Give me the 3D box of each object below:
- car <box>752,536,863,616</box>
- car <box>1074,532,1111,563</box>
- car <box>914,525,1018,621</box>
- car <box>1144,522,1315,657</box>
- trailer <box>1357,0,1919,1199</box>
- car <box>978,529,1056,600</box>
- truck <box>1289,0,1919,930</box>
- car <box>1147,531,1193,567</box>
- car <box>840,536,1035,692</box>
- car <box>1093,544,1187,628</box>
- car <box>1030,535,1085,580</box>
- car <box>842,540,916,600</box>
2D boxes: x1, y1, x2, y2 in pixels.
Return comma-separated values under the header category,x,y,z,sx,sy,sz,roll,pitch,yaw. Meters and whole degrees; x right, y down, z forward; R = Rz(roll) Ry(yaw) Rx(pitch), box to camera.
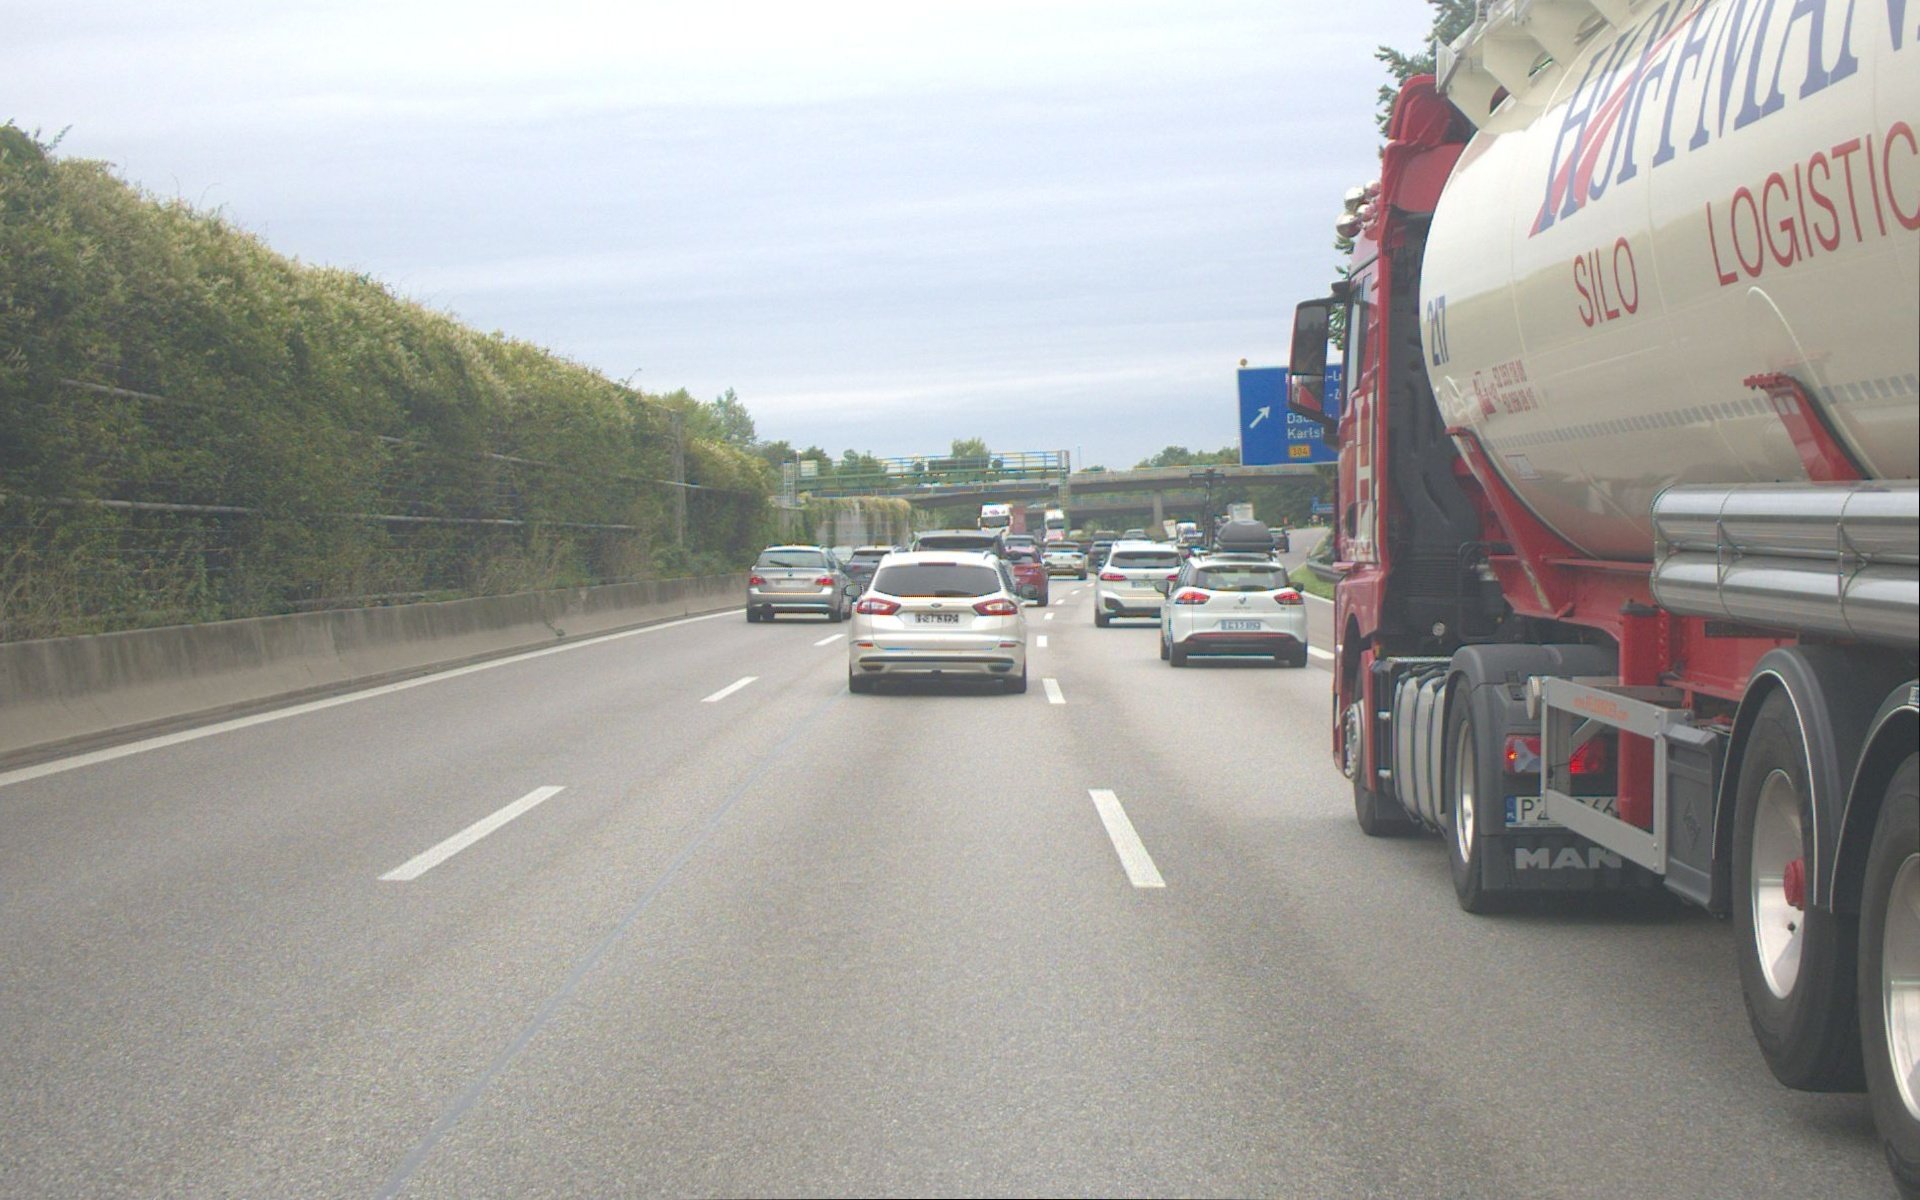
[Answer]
category,x,y,z,sx,sy,sz,roll,pitch,yaw
car,-2.944,-0.440,67.078,1.720,1.464,5.029,0,-1,2
car,6.635,-2.635,172.057,1.689,1.534,3.871,-1,1,0
car,0.089,-0.503,60.637,1.689,1.501,3.872,3,2,-1
car,3.433,-0.162,44.559,1.816,1.620,5.030,1,1,0
trailer,3.314,-0.626,9.871,2.668,3.925,13.131,0,1,-1
car,1.383,-0.859,81.991,1.689,1.501,3.871,4,2,2
truck,3.243,-0.701,16.663,2.695,3.899,6.556,0,0,0
car,9.267,-2.270,151.449,1.689,1.534,3.870,0,1,8
car,-0.283,0.100,36.693,1.891,1.499,5.030,1,1,-1
car,3.351,-0.269,64.399,1.689,1.501,3.871,0,0,2
car,3.964,-1.734,139.345,1.790,1.773,3.870,-1,1,8
car,-2.102,-0.810,90.077,1.720,1.507,5.030,-1,1,1
